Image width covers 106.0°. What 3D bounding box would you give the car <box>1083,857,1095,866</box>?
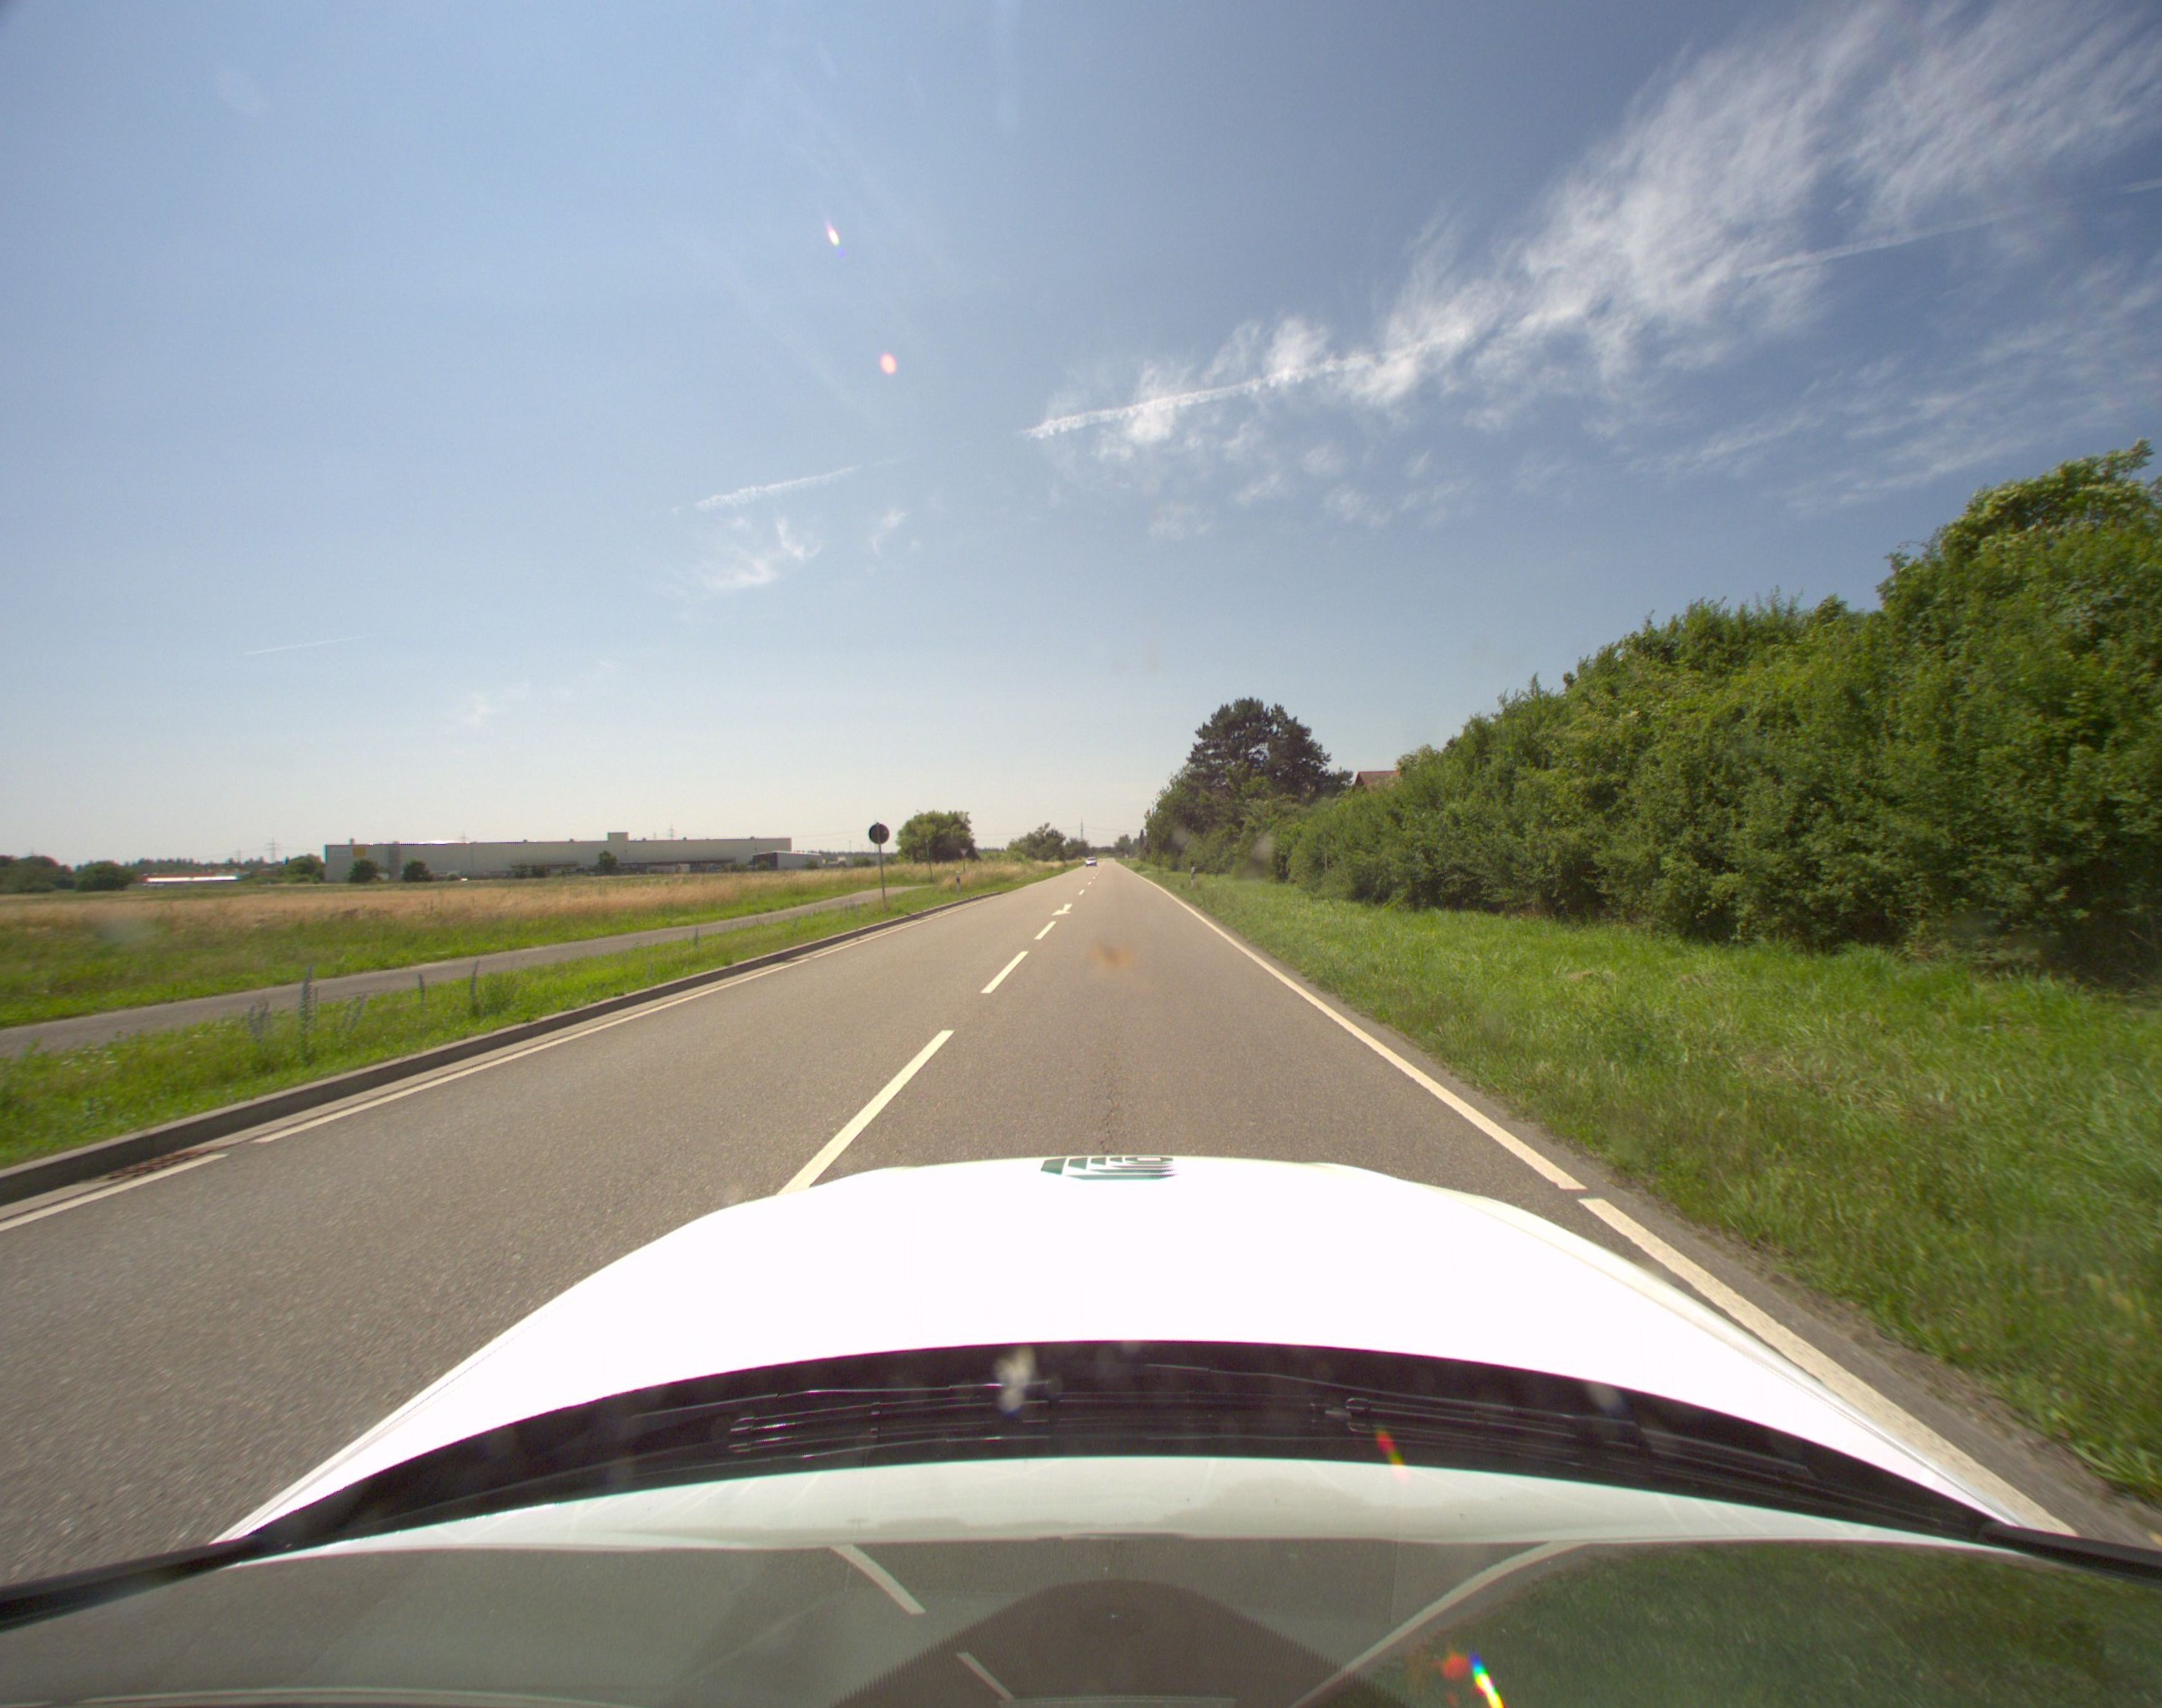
[{"bbox_3d":[1.317,1.234,133.810,1.672,1.421,4.423,-4,0,1],"label":"car"}]
